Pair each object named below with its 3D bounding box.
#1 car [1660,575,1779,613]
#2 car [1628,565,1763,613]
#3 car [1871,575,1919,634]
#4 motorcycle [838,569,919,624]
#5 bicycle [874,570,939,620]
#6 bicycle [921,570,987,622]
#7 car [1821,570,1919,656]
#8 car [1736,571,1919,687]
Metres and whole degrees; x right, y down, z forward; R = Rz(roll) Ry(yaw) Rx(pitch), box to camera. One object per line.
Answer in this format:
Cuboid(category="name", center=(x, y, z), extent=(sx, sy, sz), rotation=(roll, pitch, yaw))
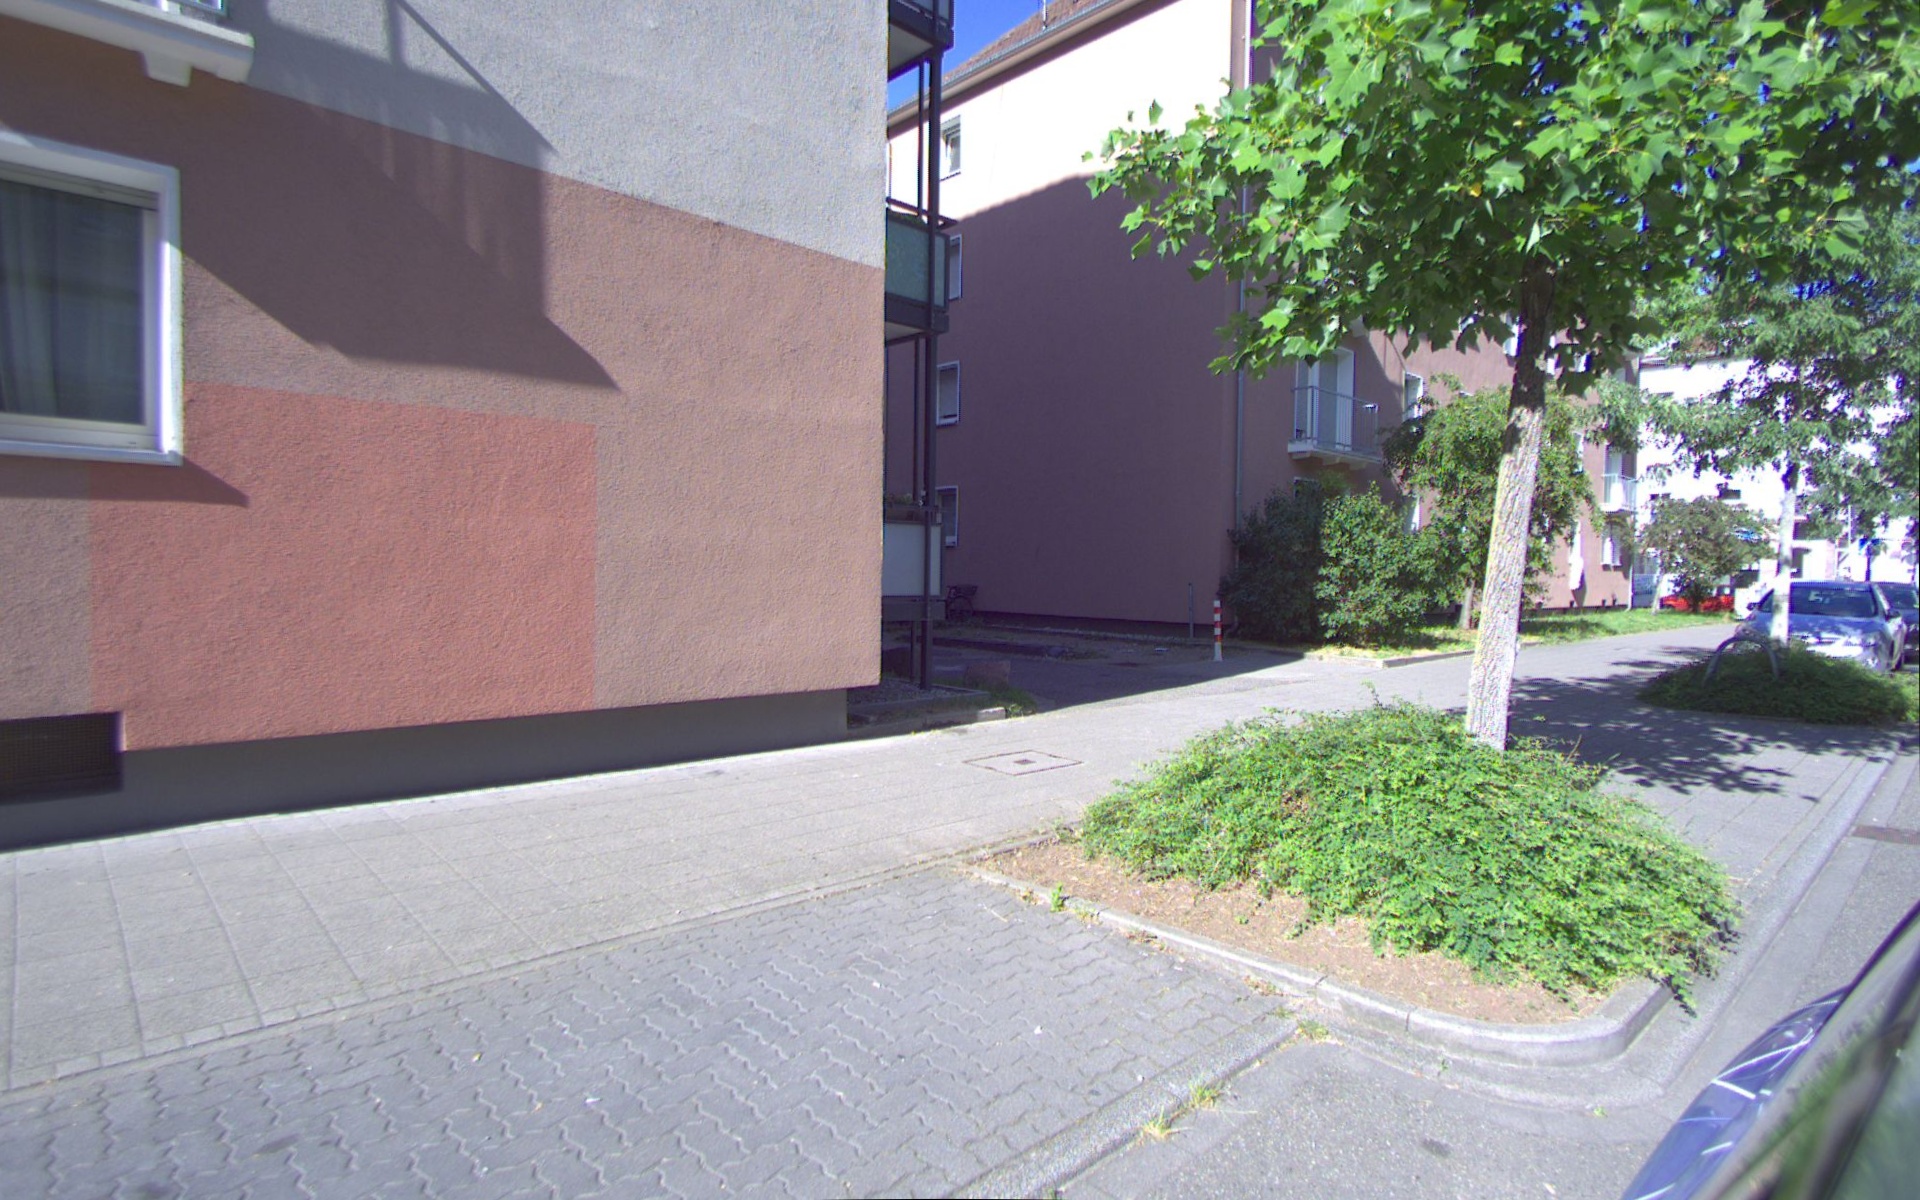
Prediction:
Cuboid(category="car", center=(30.770, -0.281, 41.064), extent=(1.542, 1.419, 3.644), rotation=(-1, 2, -42))
Cuboid(category="car", center=(33.358, -0.541, 45.989), extent=(4.742, 2.038, 1.969), rotation=(2, 2, 43))
Cuboid(category="car", center=(25.354, 0.085, 26.581), extent=(3.932, 1.446, 1.734), rotation=(-1, 2, -43))
Cuboid(category="motorcycle", center=(-1.689, -0.089, 21.201), extent=(1.742, 1.120, 0.525), rotation=(-1, 2, -42))
Cuboid(category="bicycle", center=(-1.273, -0.132, 23.817), extent=(0.548, 1.112, 1.716), rotation=(-1, 2, -44))
Cuboid(category="bicycle", center=(-0.139, -0.117, 22.609), extent=(0.584, 1.112, 1.537), rotation=(-1, 2, -44))
Cuboid(category="car", center=(18.032, 0.195, 19.529), extent=(4.239, 1.500, 1.660), rotation=(-1, 2, -43))
Cuboid(category="car", center=(13.261, 0.323, 15.331), extent=(3.933, 1.471, 1.718), rotation=(-2, 4, -43))
